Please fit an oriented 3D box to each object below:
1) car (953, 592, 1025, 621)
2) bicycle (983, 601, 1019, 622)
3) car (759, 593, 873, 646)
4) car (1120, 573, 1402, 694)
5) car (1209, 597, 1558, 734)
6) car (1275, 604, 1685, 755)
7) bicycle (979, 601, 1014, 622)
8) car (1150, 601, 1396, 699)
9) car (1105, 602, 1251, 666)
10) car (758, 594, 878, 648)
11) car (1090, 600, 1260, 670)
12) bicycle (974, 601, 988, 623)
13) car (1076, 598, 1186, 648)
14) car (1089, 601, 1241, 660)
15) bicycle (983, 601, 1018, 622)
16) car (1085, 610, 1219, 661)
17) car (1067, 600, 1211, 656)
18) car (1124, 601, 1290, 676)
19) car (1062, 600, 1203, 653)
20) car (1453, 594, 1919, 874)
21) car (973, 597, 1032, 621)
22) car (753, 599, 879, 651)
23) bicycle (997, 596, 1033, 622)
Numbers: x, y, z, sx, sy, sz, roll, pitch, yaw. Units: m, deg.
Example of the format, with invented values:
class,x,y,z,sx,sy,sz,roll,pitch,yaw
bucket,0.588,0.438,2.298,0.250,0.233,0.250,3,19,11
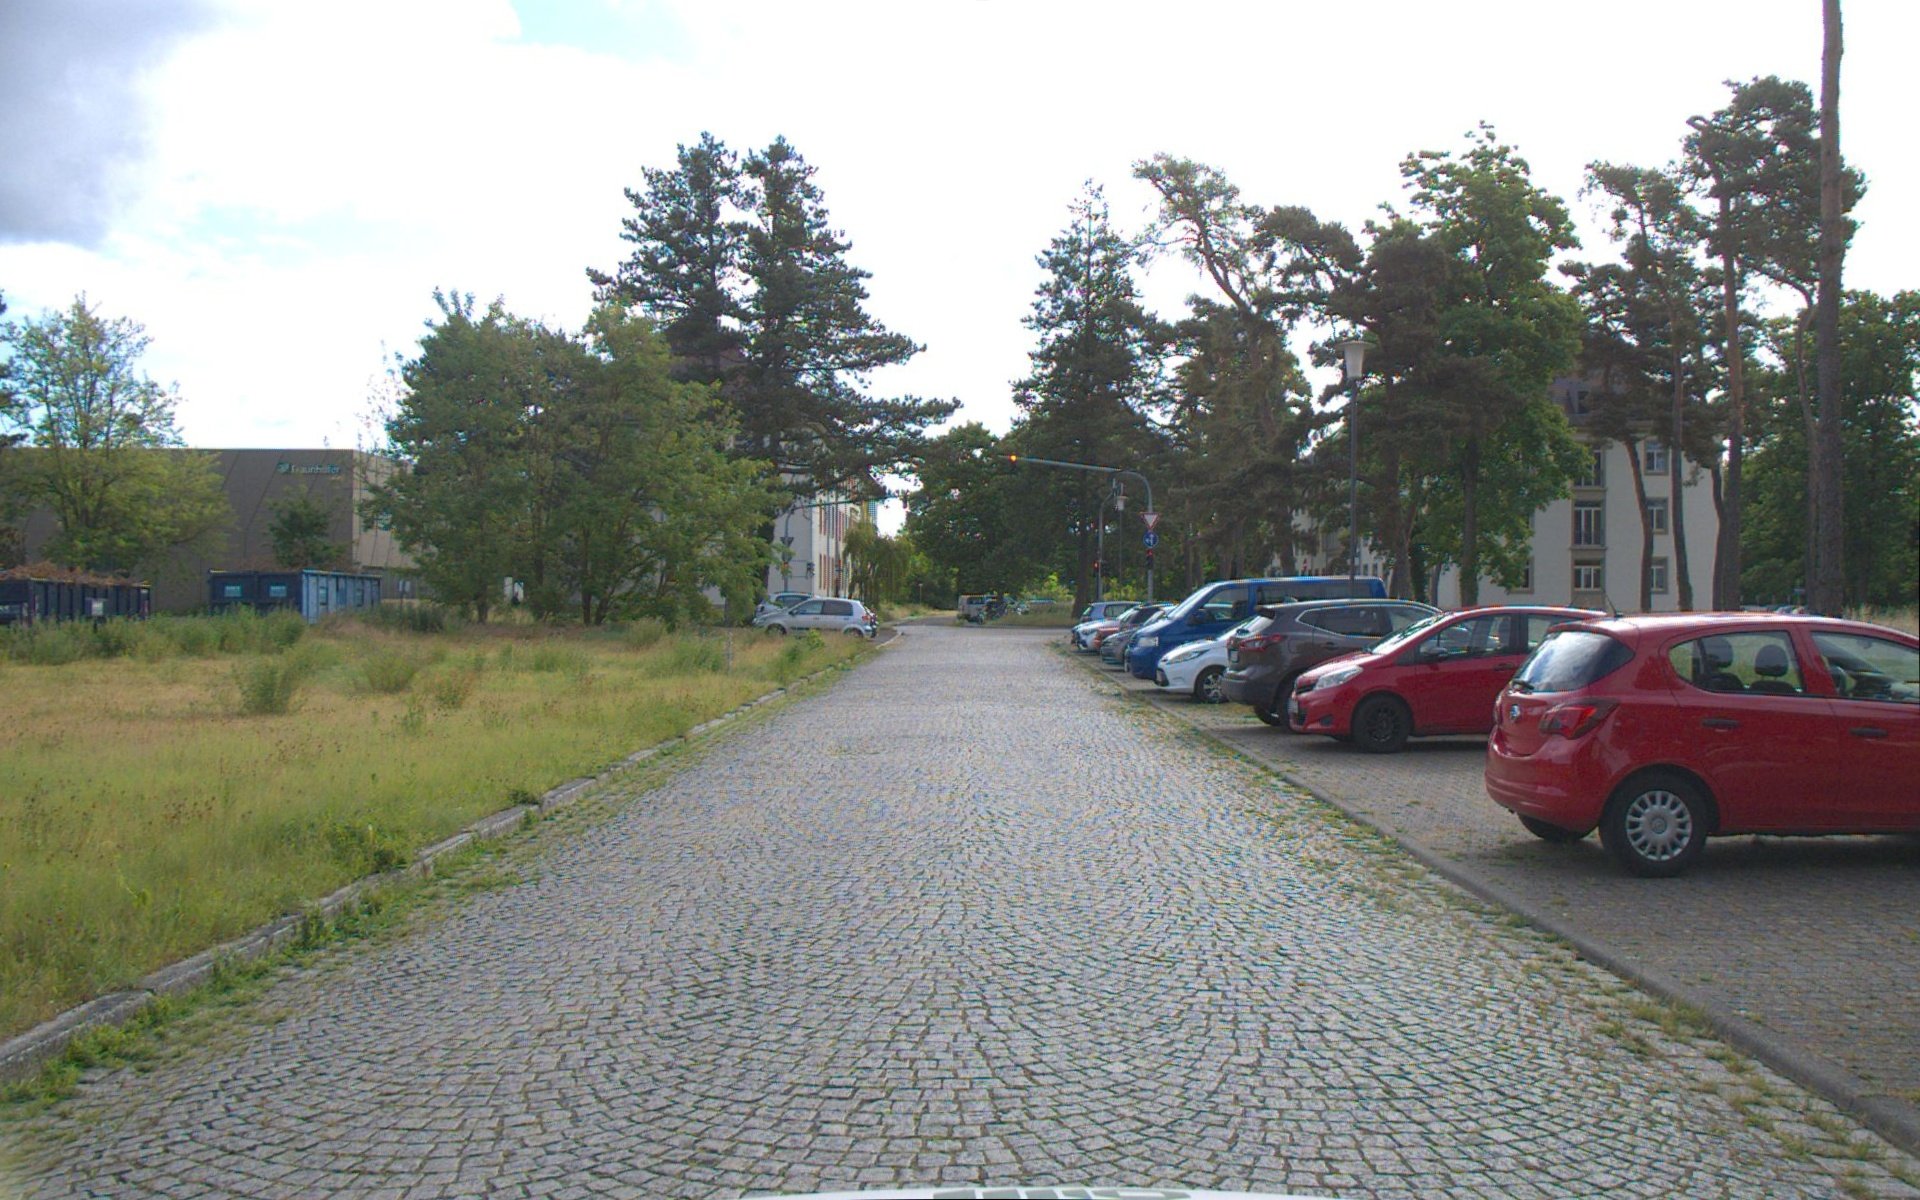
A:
class,x,y,z,sx,sy,sz,roll,pitch,yaw
car,2.070,0.482,120.050,4.959,2.049,1.995,0,0,-10
bicycle,2.522,0.703,102.224,2.119,1.290,0.811,0,0,-6
car,-5.051,0.671,57.986,3.911,1.780,1.924,0,0,-7
car,5.279,0.567,29.401,4.686,2.075,1.737,0,0,-2
car,5.172,0.784,20.548,3.870,1.608,1.761,0,0,-1
car,5.516,0.820,17.898,3.905,1.545,1.738,0,0,0
bicycle,2.296,0.718,104.025,2.119,1.290,0.811,0,0,-6
car,5.039,0.789,26.942,3.647,1.449,1.654,-1,0,-2
car,5.348,0.816,40.751,3.233,1.530,1.660,0,0,-11
car,-4.714,0.685,54.935,3.910,1.736,1.998,0,0,-6
car,4.884,0.782,37.780,3.533,1.533,1.660,0,0,-11
bicycle,1.269,0.733,98.467,0.793,1.290,1.973,0,0,1
car,5.495,0.730,53.238,3.323,1.570,1.389,0,0,-6
car,5.630,0.835,45.619,3.909,1.570,1.662,0,0,-6
bicycle,2.521,0.709,102.811,2.119,1.290,0.811,0,0,-6
car,5.007,0.907,43.373,3.228,1.289,1.662,0,0,-6
car,5.158,0.794,47.846,3.909,1.570,1.662,0,0,-6
car,5.184,0.800,34.958,3.226,1.531,1.663,0,0,-2
car,5.256,0.794,50.669,4.042,1.570,1.662,0,0,-6
car,5.214,0.752,10.288,3.761,1.532,1.738,-1,0,-1
car,2.996,0.603,116.770,3.910,1.673,1.998,0,0,-6
car,-4.571,0.777,52.448,3.910,1.579,1.998,0,0,-6
bicycle,3.439,0.561,103.520,2.119,1.644,0.811,0,0,-6
